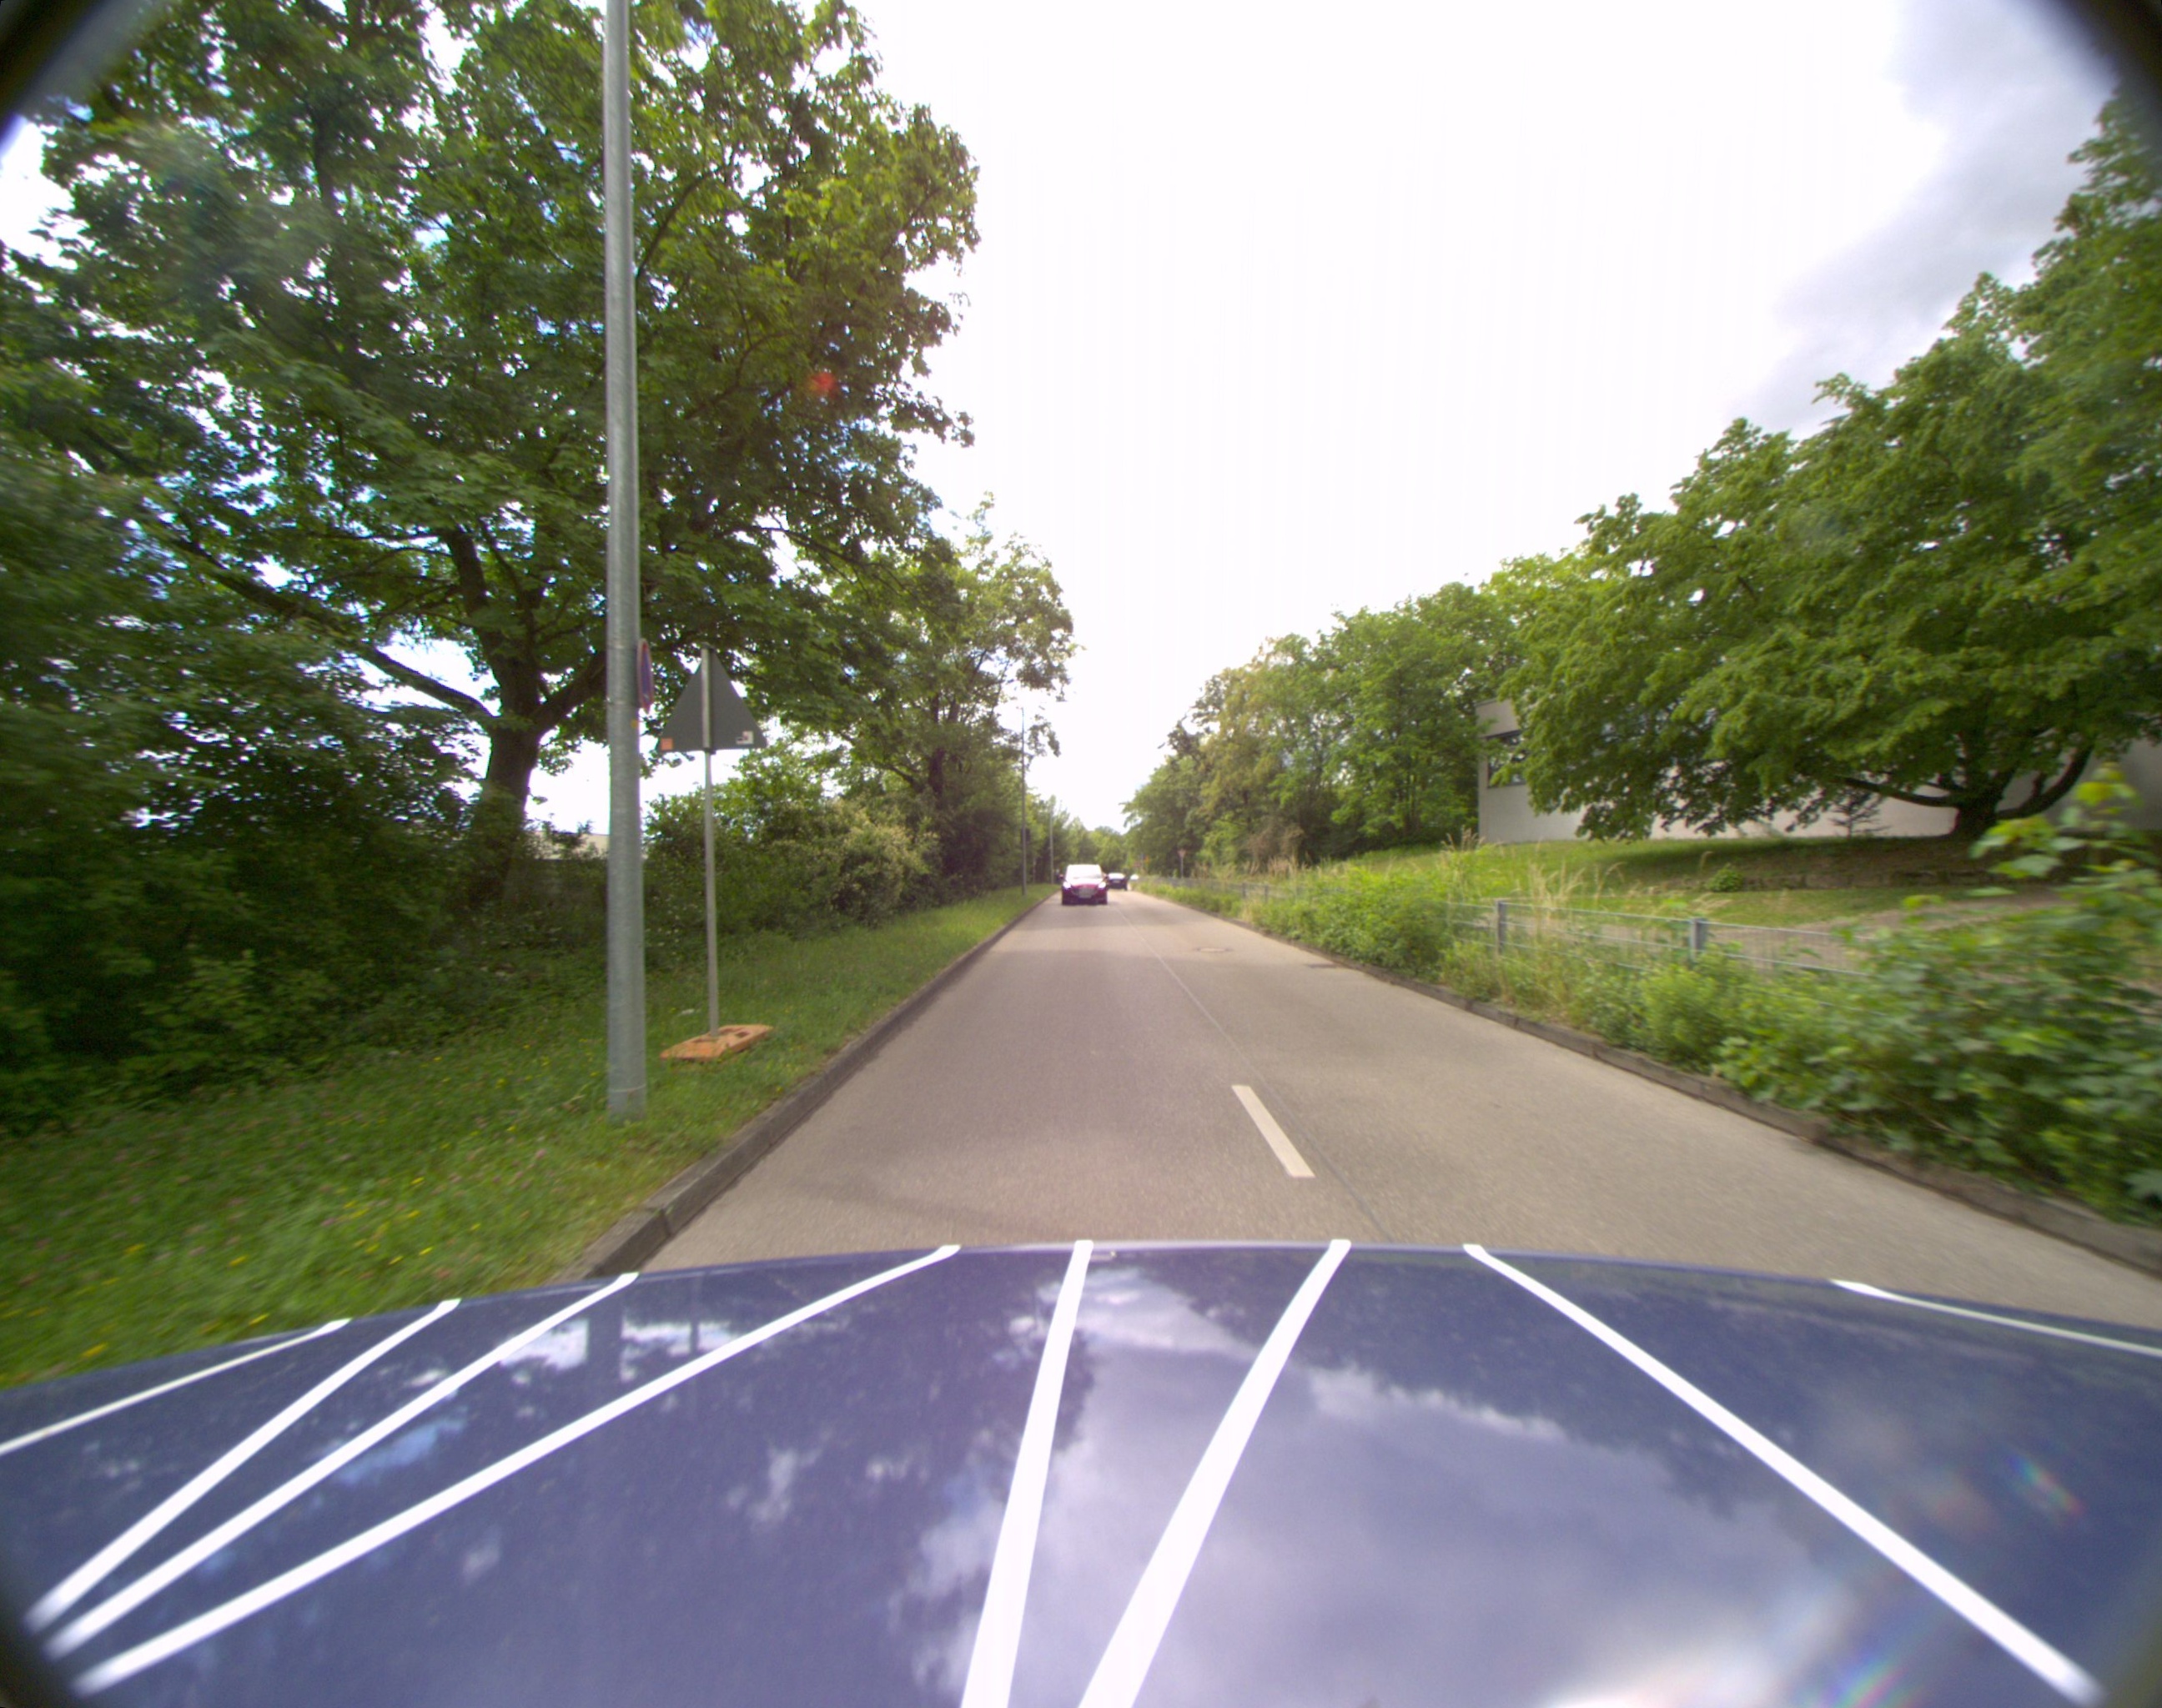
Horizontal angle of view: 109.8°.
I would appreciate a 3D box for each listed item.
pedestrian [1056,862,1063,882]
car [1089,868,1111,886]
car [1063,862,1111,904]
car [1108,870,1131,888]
[{"bbox_3d":[-1.914,1.603,67.601,0.675,1.825,0.606,-1,0,-3],"label":"pedestrian"},{"bbox_3d":[1.867,2.221,73.790,1.998,1.586,4.001,-1,0,4],"label":"car"},{"bbox_3d":[0.249,1.217,32.398,1.861,1.608,4.477,-2,-2,0],"label":"car"},{"bbox_3d":[2.958,1.942,58.943,1.620,1.324,4.001,-1,-1,1],"label":"car"}]
